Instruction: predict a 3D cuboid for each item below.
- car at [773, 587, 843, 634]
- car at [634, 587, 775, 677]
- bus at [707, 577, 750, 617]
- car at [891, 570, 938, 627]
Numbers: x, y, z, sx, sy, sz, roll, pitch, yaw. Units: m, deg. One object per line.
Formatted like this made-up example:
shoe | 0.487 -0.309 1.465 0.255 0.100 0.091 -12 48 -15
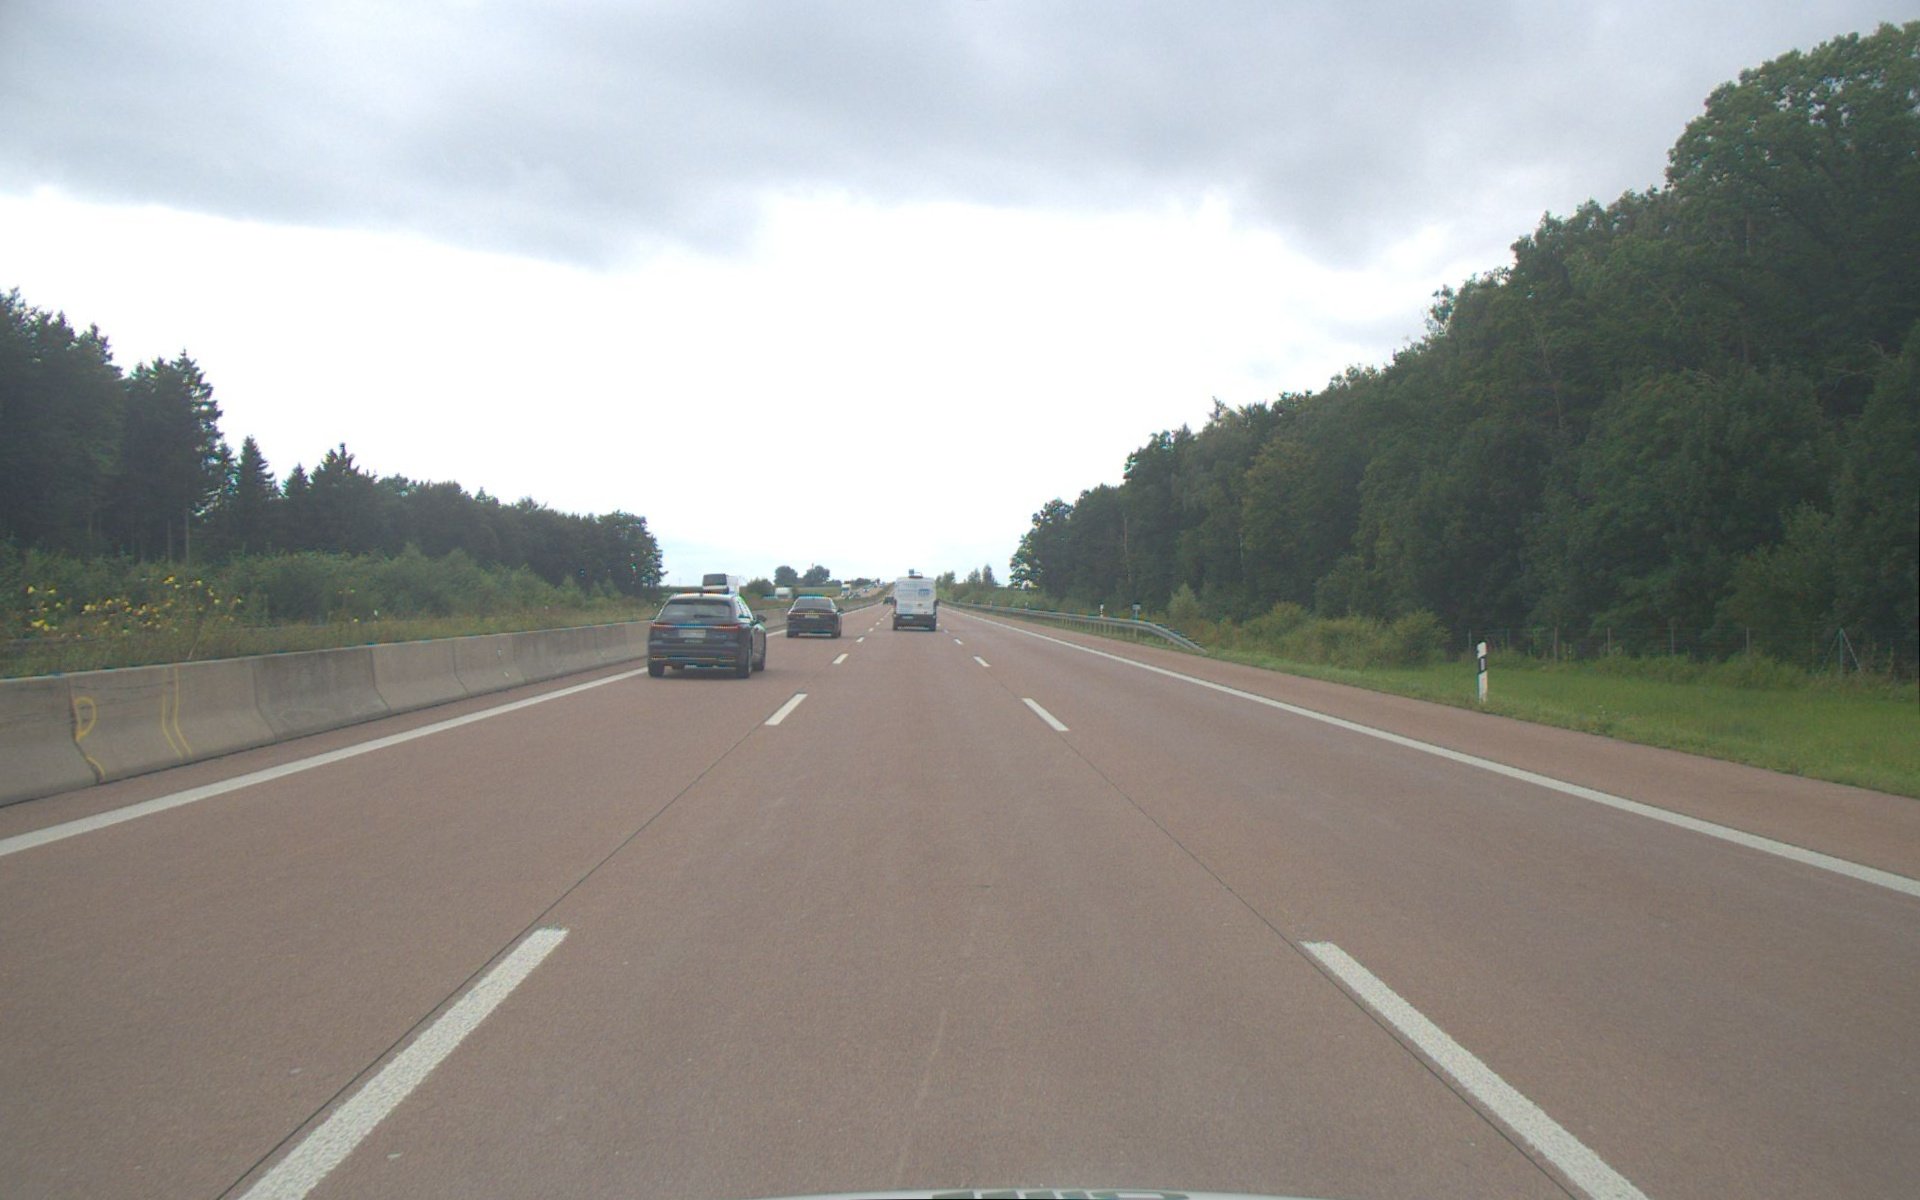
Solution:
car | -5.491 0.338 60.309 2.043 1.577 5.673 2 1 -1
car | -4.726 0.541 31.350 2.017 1.517 5.450 1 0 -2
bus | -24.068 -0.325 172.514 2.988 3.956 14.354 1 0 -3
car | -2.133 -0.111 77.631 2.094 2.550 7.129 1 1 -2
